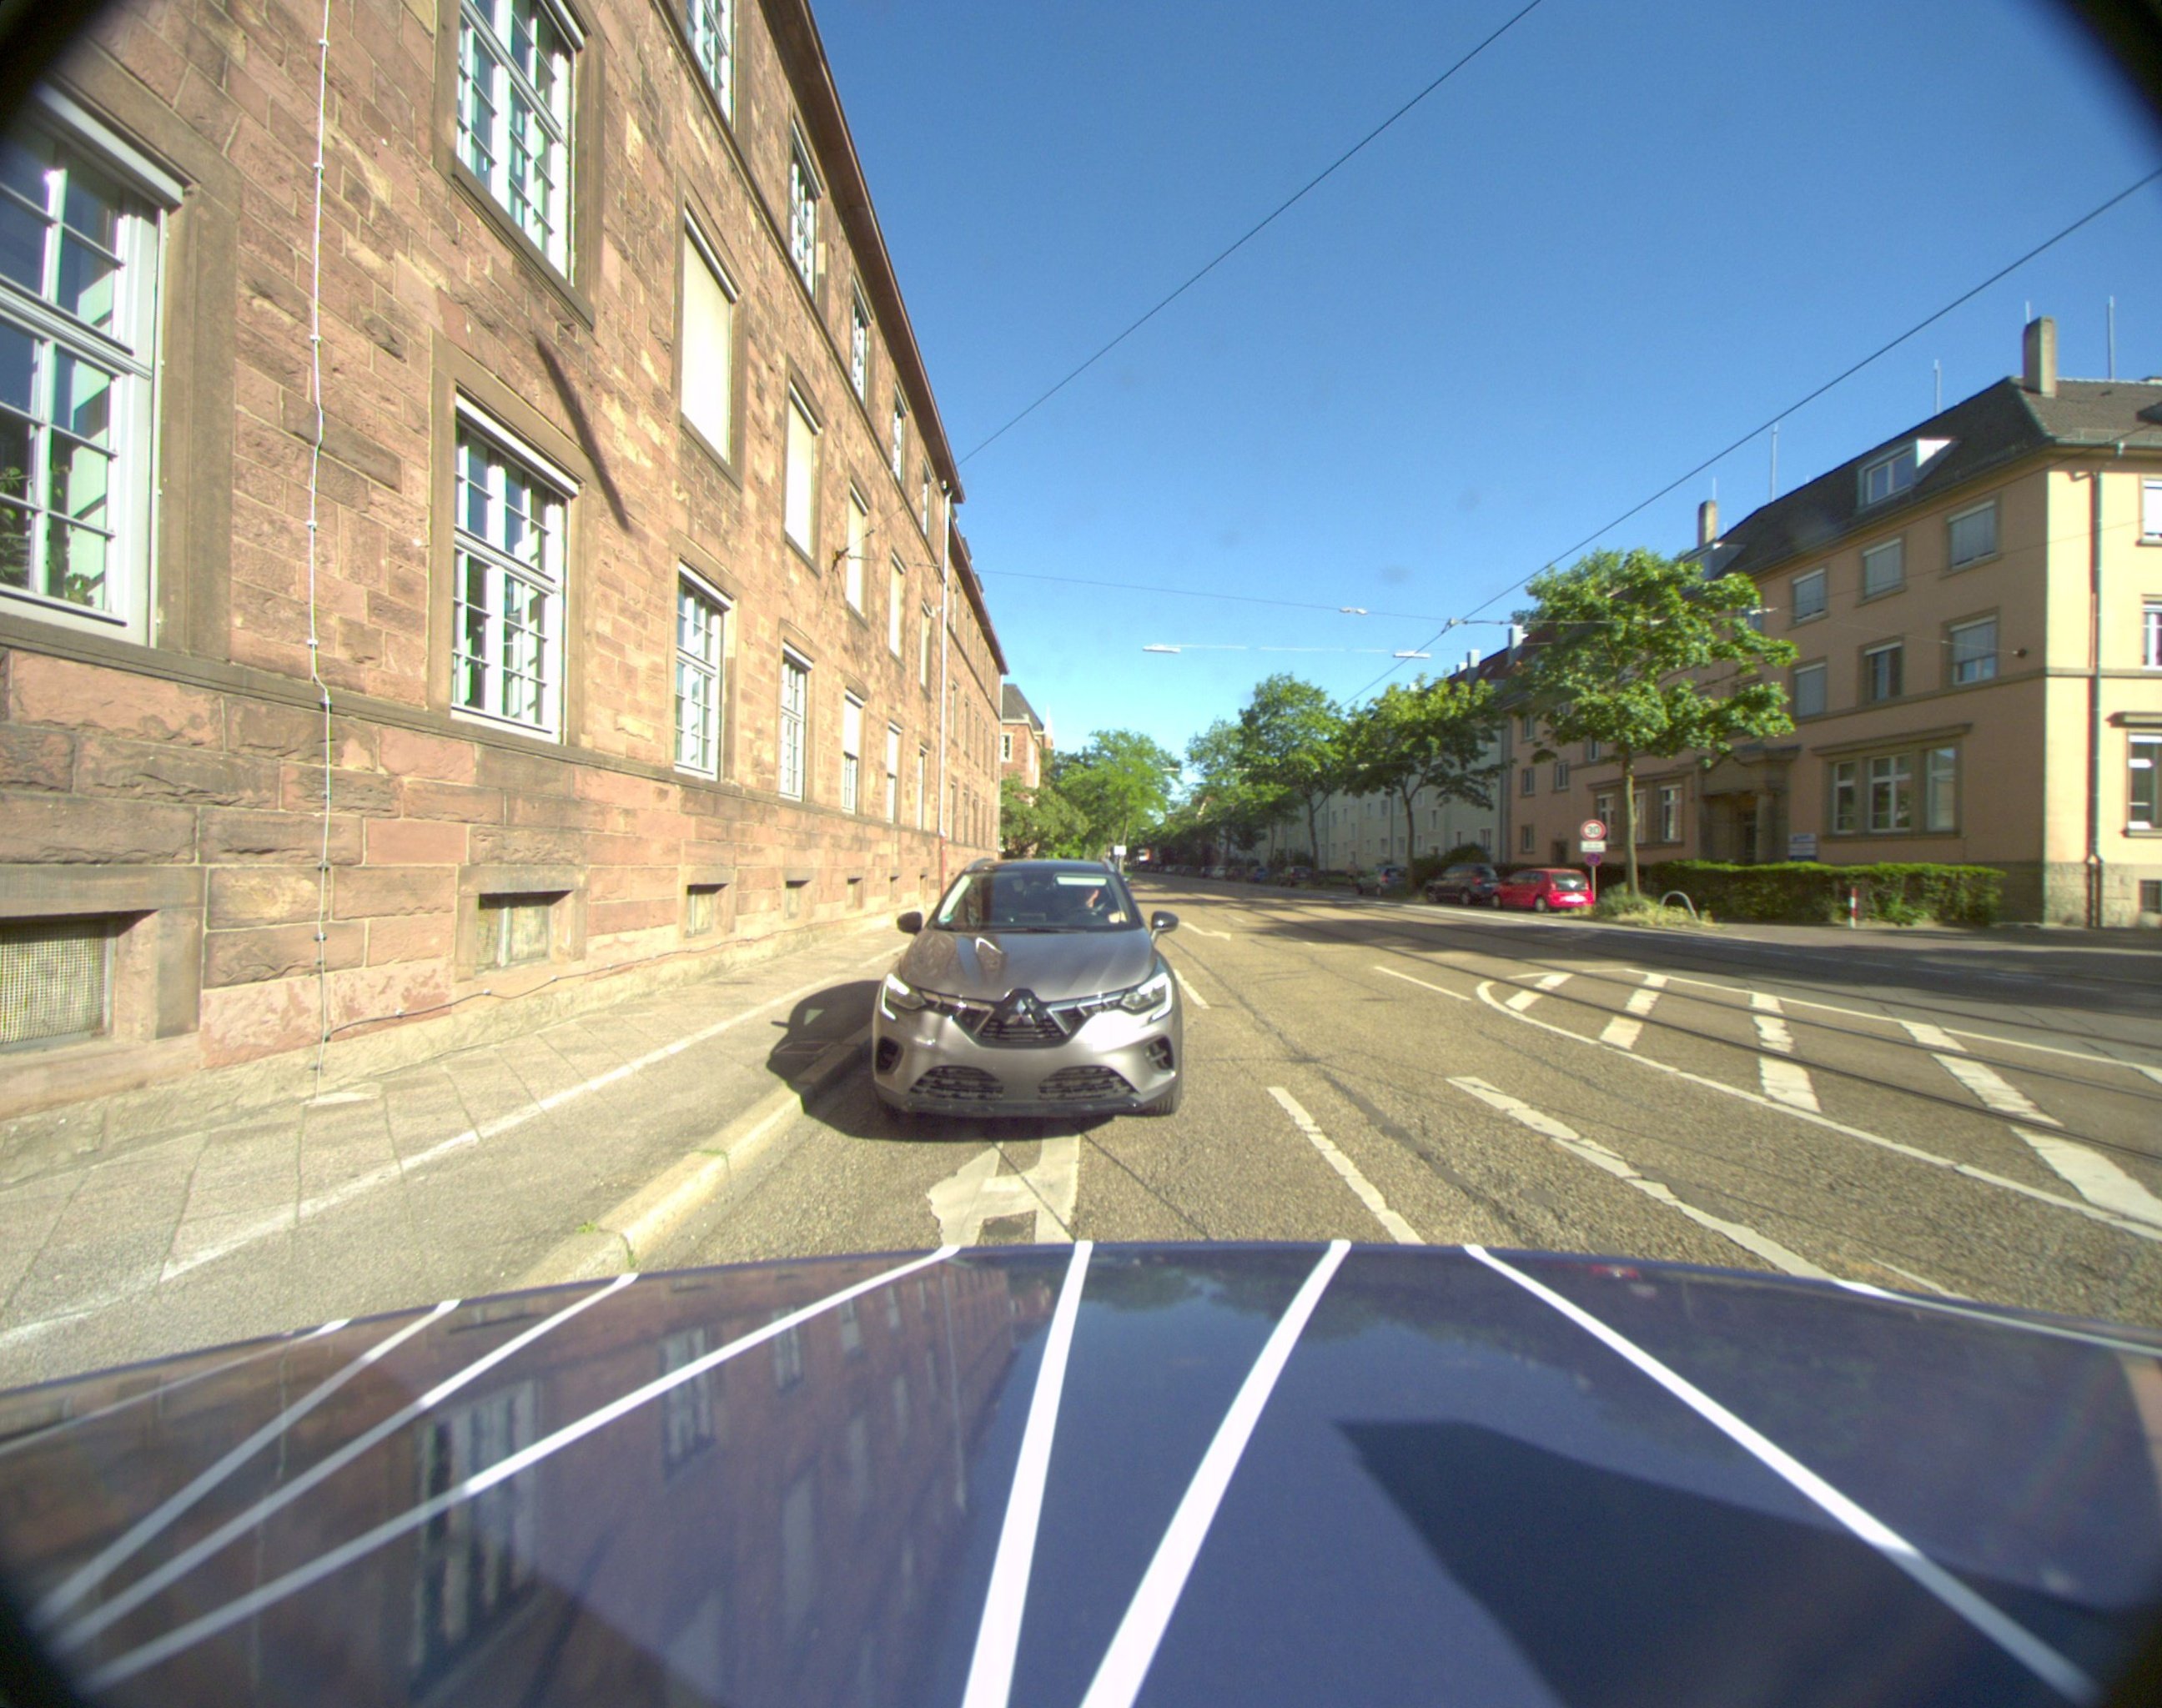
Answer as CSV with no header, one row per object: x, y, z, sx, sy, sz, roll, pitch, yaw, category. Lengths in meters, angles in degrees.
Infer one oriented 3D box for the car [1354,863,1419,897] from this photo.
15.730,1.303,39.354,1.816,1.648,3.877,1,0,1,car

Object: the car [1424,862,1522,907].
15.642,1.173,30.544,1.816,1.648,3.819,1,0,-3,car

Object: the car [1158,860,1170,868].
15.973,1.851,146.872,1.816,1.514,3.630,1,0,-2,car

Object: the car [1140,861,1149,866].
16.066,2.401,191.195,1.816,1.411,3.630,1,0,-2,car

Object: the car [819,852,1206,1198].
-0.364,0.809,5.463,1.796,1.595,3.799,0,0,-2,car

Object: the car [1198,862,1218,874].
15.842,1.758,94.854,1.816,1.411,3.630,1,0,-2,car

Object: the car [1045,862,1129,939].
0.071,1.017,18.487,1.796,1.638,4.083,0,0,-2,car

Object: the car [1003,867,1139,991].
-0.182,1.034,12.040,1.796,1.595,3.799,0,0,-2,car

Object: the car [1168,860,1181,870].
16.584,1.942,135.235,1.816,1.768,3.630,1,0,-2,car

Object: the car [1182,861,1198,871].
16.035,1.744,111.743,1.816,1.411,3.630,1,0,-2,car

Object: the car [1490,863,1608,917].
15.852,1.169,25.936,1.816,1.696,3.374,1,0,-3,car

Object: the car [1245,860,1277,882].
15.969,1.474,67.491,1.816,1.814,3.795,1,0,-2,car

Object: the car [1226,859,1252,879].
15.898,1.531,76.568,1.816,1.929,3.630,1,0,-2,car

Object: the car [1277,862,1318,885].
15.788,1.430,55.598,1.816,1.589,3.630,1,0,-2,car

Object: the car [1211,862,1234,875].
16.026,1.669,85.927,1.816,1.411,3.630,1,0,-2,car
